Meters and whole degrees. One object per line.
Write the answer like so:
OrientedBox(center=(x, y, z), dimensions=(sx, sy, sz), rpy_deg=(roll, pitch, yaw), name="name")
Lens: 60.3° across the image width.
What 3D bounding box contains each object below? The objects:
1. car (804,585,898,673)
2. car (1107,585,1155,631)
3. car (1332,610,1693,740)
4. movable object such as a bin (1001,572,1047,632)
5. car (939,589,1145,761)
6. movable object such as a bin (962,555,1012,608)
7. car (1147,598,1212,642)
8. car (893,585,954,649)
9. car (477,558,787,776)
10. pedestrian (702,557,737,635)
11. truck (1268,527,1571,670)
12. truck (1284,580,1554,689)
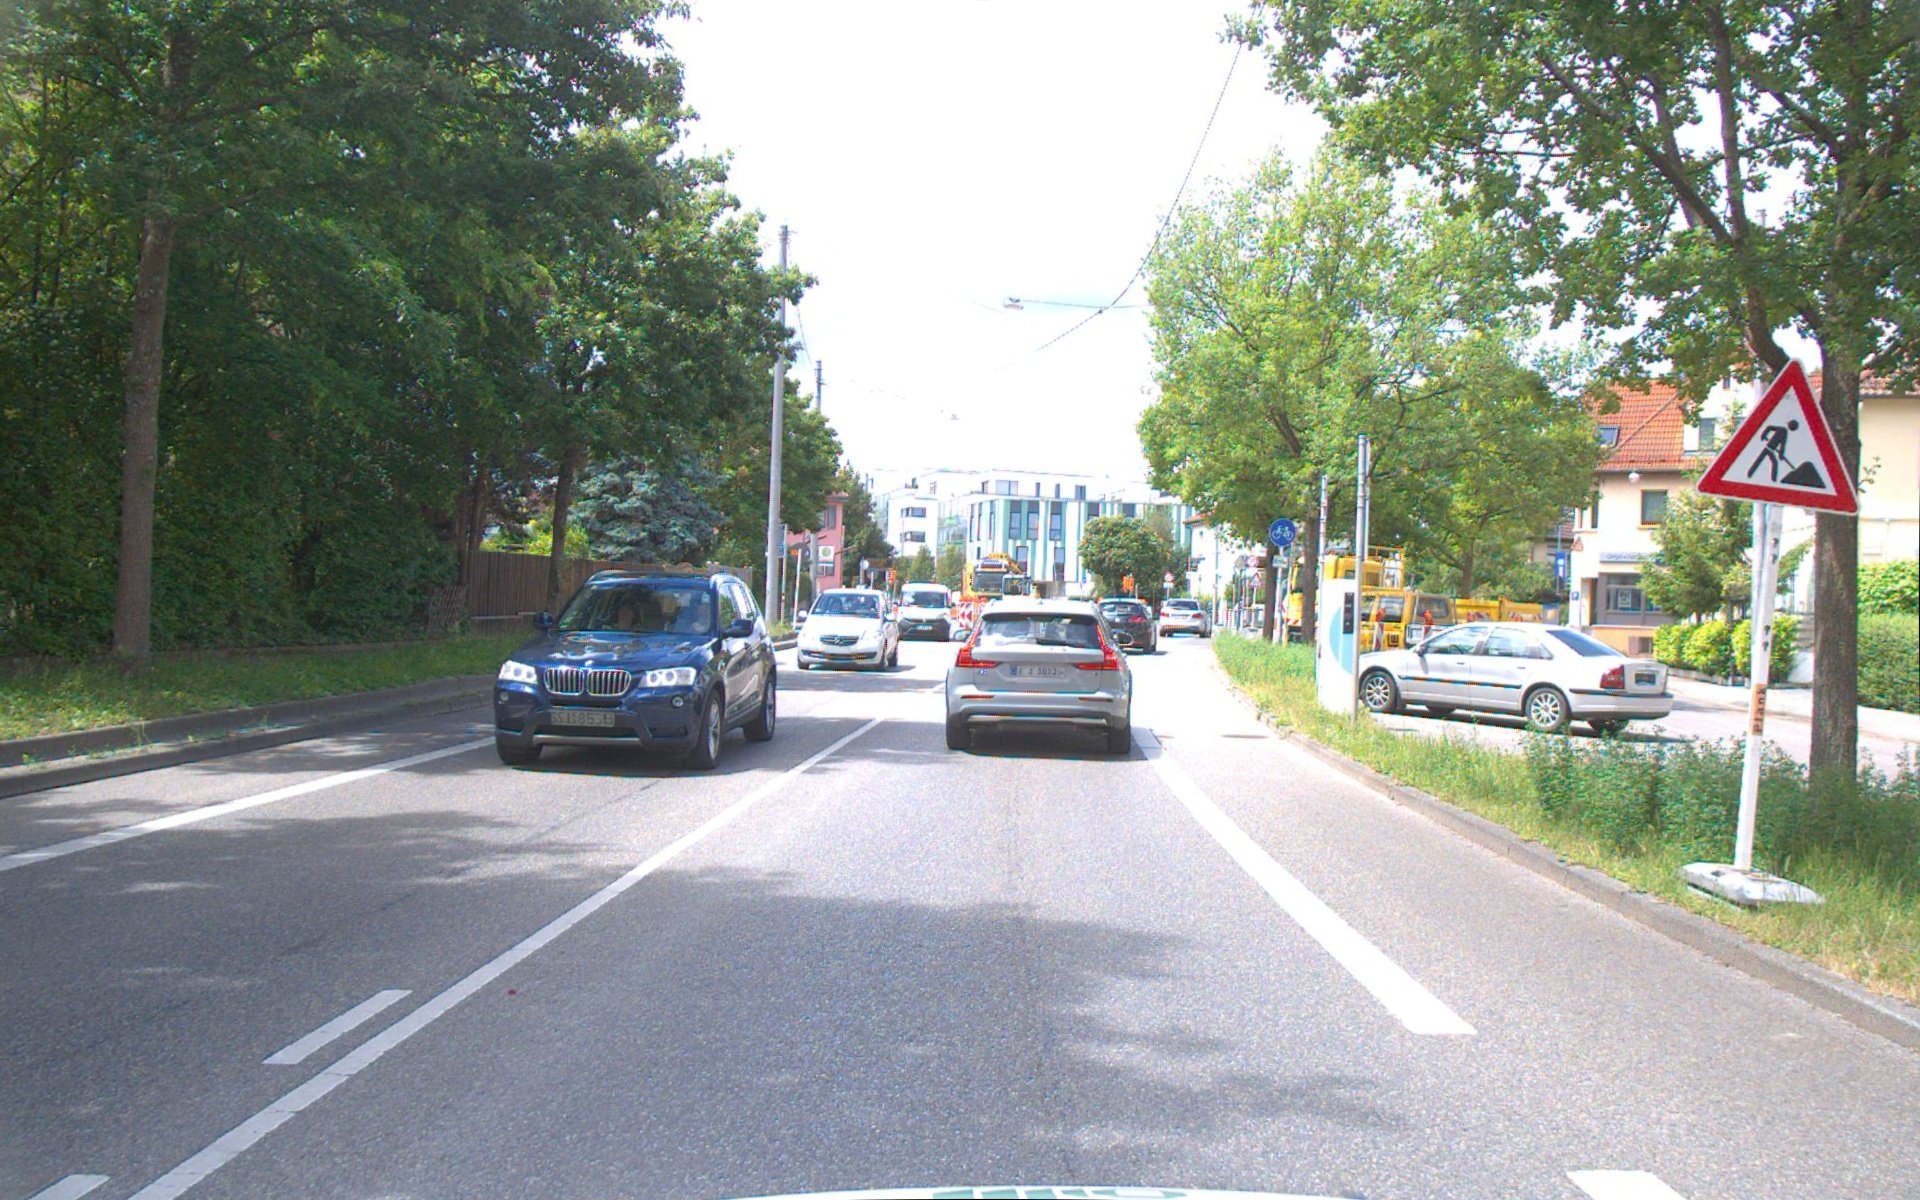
OrientedBox(center=(-2.184, 0.594, 33.961), dimensions=(1.673, 1.646, 3.999), rpy_deg=(2, -1, -1), name="car")
OrientedBox(center=(8.467, 0.427, 81.671), dimensions=(1.951, 2.048, 4.003), rpy_deg=(4, -1, 9), name="car")
OrientedBox(center=(7.753, 1.006, 23.597), dimensions=(1.752, 1.477, 4.621), rpy_deg=(3, 0, -41), name="car")
OrientedBox(center=(3.019, 0.096, 78.196), dimensions=(1.992, 2.689, 5.941), rpy_deg=(2, 0, 2), name="movable object such as a bin")
OrientedBox(center=(0.892, 0.702, 17.323), dimensions=(1.887, 1.567, 4.002), rpy_deg=(0, 0, 4), name="car")
OrientedBox(center=(1.630, -1.114, 101.721), dimensions=(2.266, 3.042, 6.419), rpy_deg=(2, 0, -6), name="movable object such as a bin")
OrientedBox(center=(8.660, 0.801, 65.558), dimensions=(2.059, 1.536, 4.000), rpy_deg=(4, -1, 1), name="car")
OrientedBox(center=(-1.187, 0.580, 54.616), dimensions=(1.811, 1.908, 4.592), rpy_deg=(4, -1, -1), name="car")
OrientedBox(center=(-2.836, 0.538, 15.297), dimensions=(1.841, 1.717, 4.248), rpy_deg=(1, 0, 2), name="car")
OrientedBox(center=(-6.586, -0.102, 45.281), dimensions=(0.700, 2.048, 0.771), rpy_deg=(4, -1, 0), name="pedestrian")
OrientedBox(center=(11.148, -0.097, 40.628), dimensions=(2.748, 3.060, 6.602), rpy_deg=(6, -2, -43), name="truck")
OrientedBox(center=(10.234, 0.721, 37.284), dimensions=(1.983, 2.048, 5.591), rpy_deg=(6, -2, -42), name="truck")
